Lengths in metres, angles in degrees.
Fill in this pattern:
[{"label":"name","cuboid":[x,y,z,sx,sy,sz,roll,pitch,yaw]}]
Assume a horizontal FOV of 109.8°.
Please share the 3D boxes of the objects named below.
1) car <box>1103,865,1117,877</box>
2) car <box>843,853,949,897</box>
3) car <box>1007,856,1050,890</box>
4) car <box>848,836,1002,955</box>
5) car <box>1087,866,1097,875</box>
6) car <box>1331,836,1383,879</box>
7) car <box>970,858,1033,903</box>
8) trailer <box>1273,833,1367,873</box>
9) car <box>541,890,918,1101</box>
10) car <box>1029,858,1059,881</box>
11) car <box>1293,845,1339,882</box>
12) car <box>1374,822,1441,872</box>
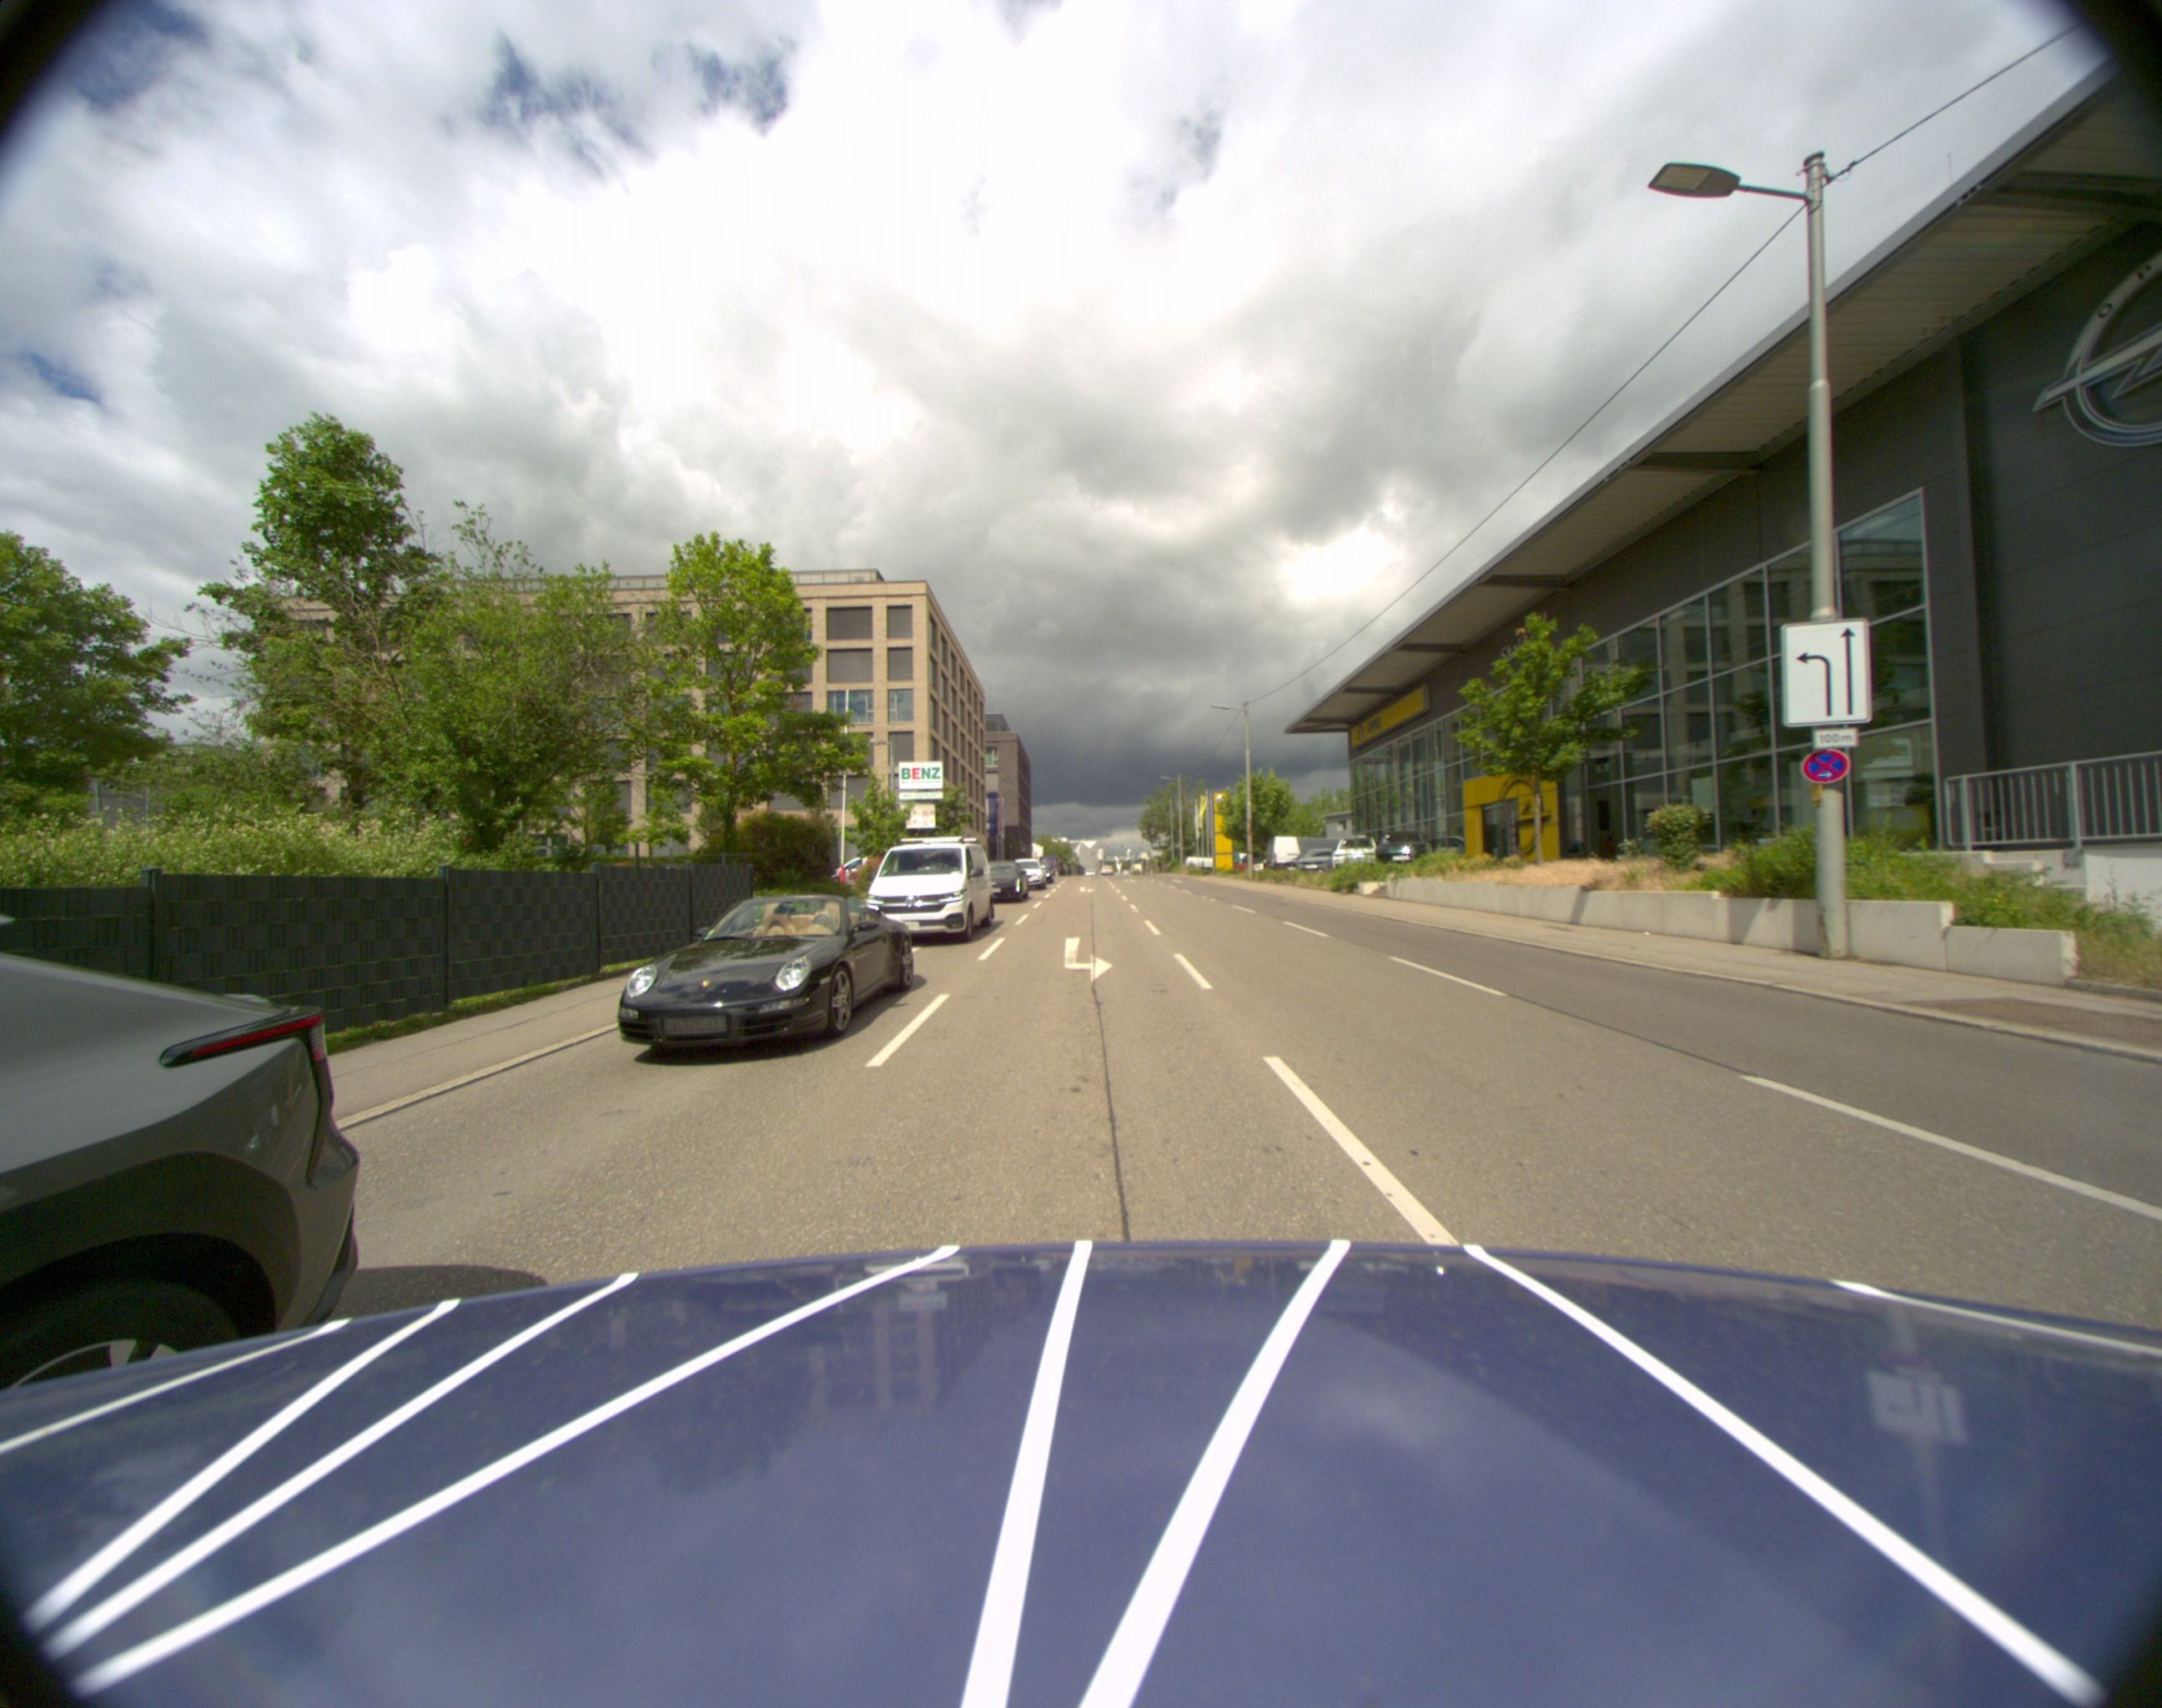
[{"label":"car","cuboid":[4.497,2.577,117.085,1.998,1.731,4.547,-2,0,1]},{"label":"car","cuboid":[-7.637,0.836,31.684,3.998,1.723,1.822,-1,1,-3]},{"label":"car","cuboid":[-2.601,0.892,38.422,1.818,1.577,4.000,-1,0,1]},{"label":"car","cuboid":[-3.023,0.731,15.883,2.089,2.037,4.760,-2,0,1]},{"label":"car","cuboid":[2.253,3.336,153.890,1.998,1.819,4.547,-2,0,2]},{"label":"car","cuboid":[12.160,0.124,33.435,1.995,1.783,4.006,-1,0,21]},{"label":"car","cuboid":[-2.836,0.910,27.881,1.818,1.454,4.000,-1,0,1]},{"label":"trailer","cuboid":[14.442,-0.074,46.169,5.074,2.336,2.000,-1,1,-1]},{"label":"car","cuboid":[-3.044,1.152,7.666,1.824,1.286,4.038,-2,0,1]},{"label":"car","cuboid":[-2.352,0.987,49.214,1.662,1.351,4.000,-1,0,1]},{"label":"car","cuboid":[12.098,0.463,39.009,1.995,1.783,4.006,-1,0,21]},{"label":"car","cuboid":[12.328,-0.257,28.925,1.996,1.718,4.005,-1,0,18]}]
